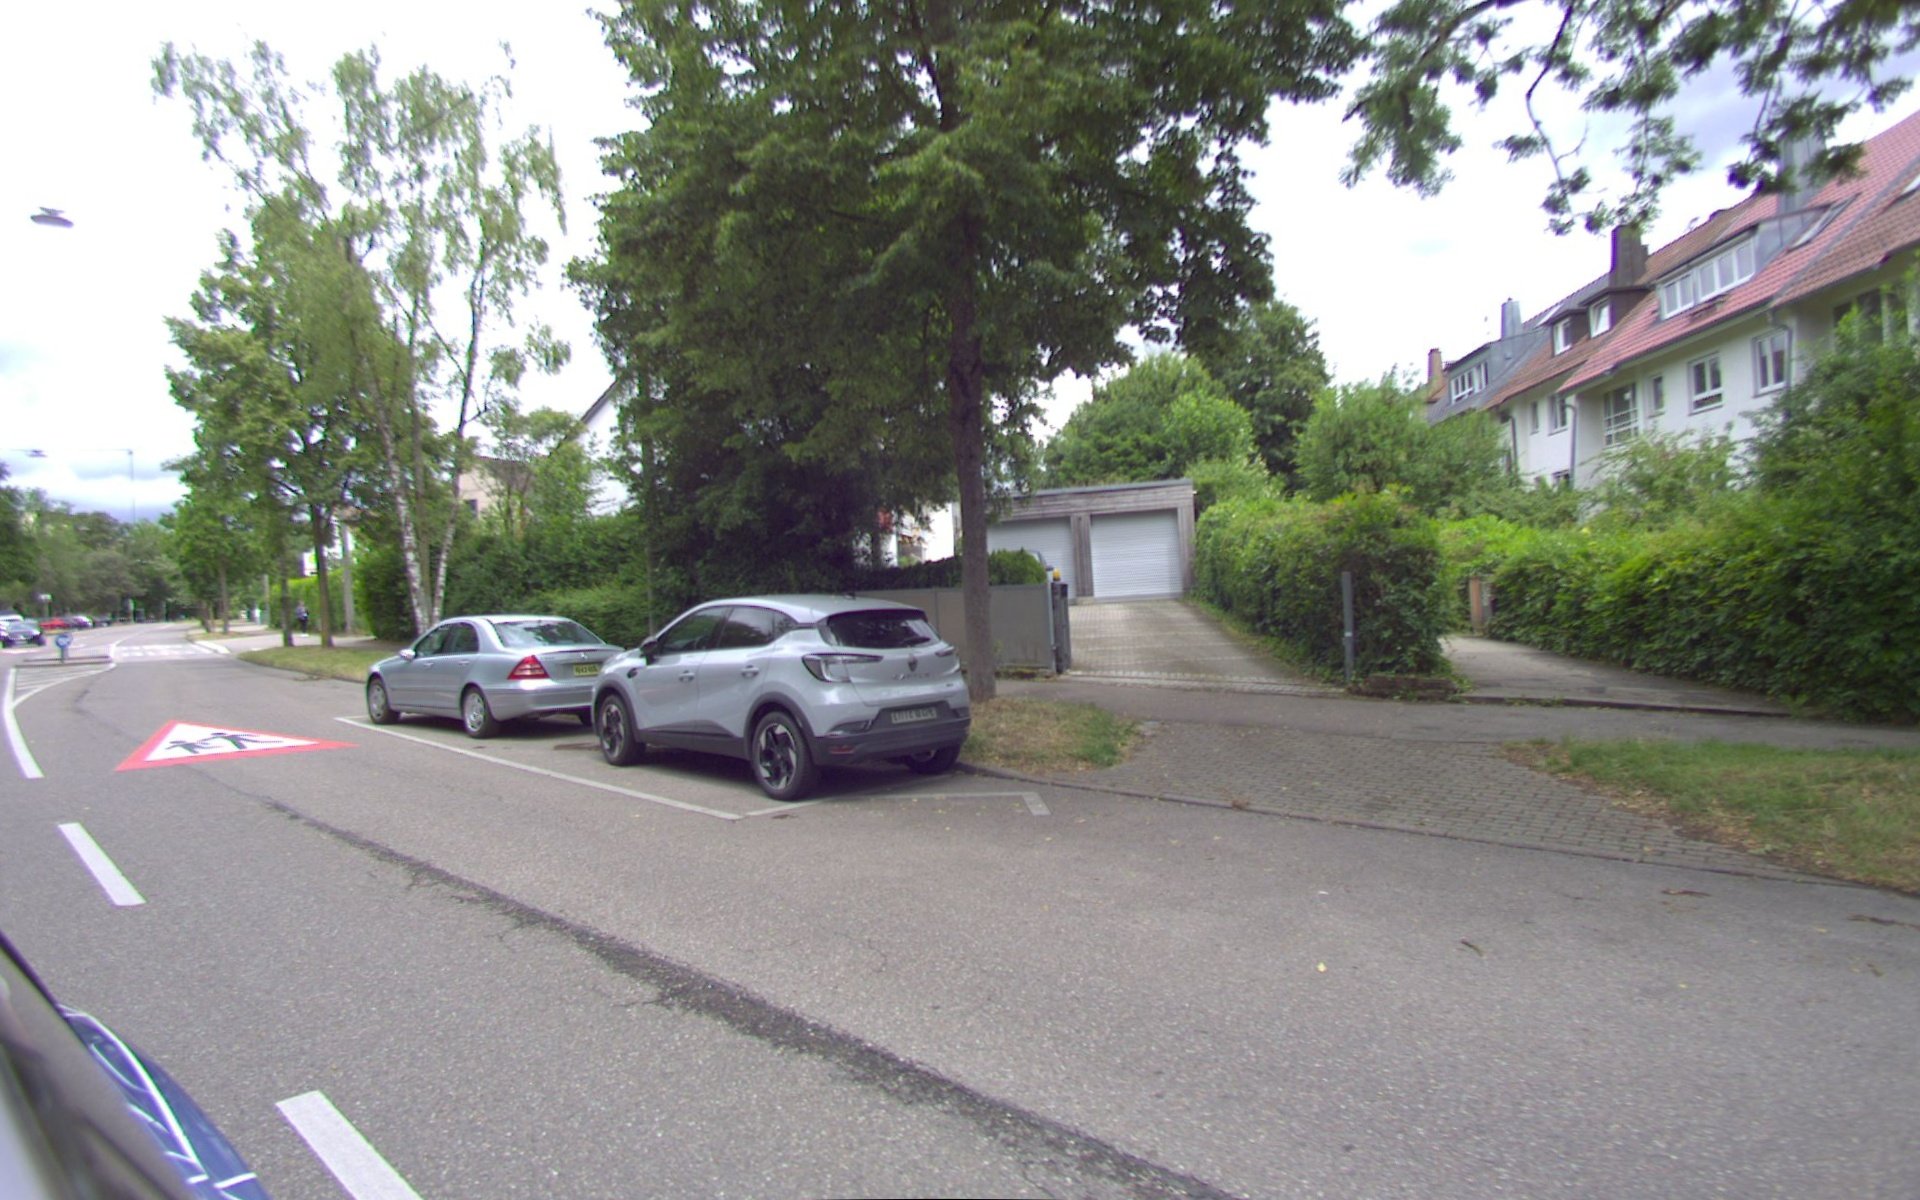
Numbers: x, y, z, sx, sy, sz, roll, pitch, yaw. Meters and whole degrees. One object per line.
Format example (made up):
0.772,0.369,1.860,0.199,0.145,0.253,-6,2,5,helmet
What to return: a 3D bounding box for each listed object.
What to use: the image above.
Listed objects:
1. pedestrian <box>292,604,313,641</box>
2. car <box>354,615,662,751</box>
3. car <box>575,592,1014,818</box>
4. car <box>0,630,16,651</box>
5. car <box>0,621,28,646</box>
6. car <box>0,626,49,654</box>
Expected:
-32.118,1.096,49.440,0.778,1.723,0.684,-2,0,44,pedestrian
-5.866,0.951,12.887,4.466,1.427,1.719,-2,-1,38,car
-1.667,0.766,9.048,4.191,1.549,1.716,-2,-1,44,car
-71.518,3.044,73.700,1.714,1.449,3.808,-2,2,39,car
-73.326,2.628,76.237,1.851,1.771,4.181,-2,2,29,car
-52.054,2.213,56.065,1.832,1.384,4.086,-3,1,-36,car
